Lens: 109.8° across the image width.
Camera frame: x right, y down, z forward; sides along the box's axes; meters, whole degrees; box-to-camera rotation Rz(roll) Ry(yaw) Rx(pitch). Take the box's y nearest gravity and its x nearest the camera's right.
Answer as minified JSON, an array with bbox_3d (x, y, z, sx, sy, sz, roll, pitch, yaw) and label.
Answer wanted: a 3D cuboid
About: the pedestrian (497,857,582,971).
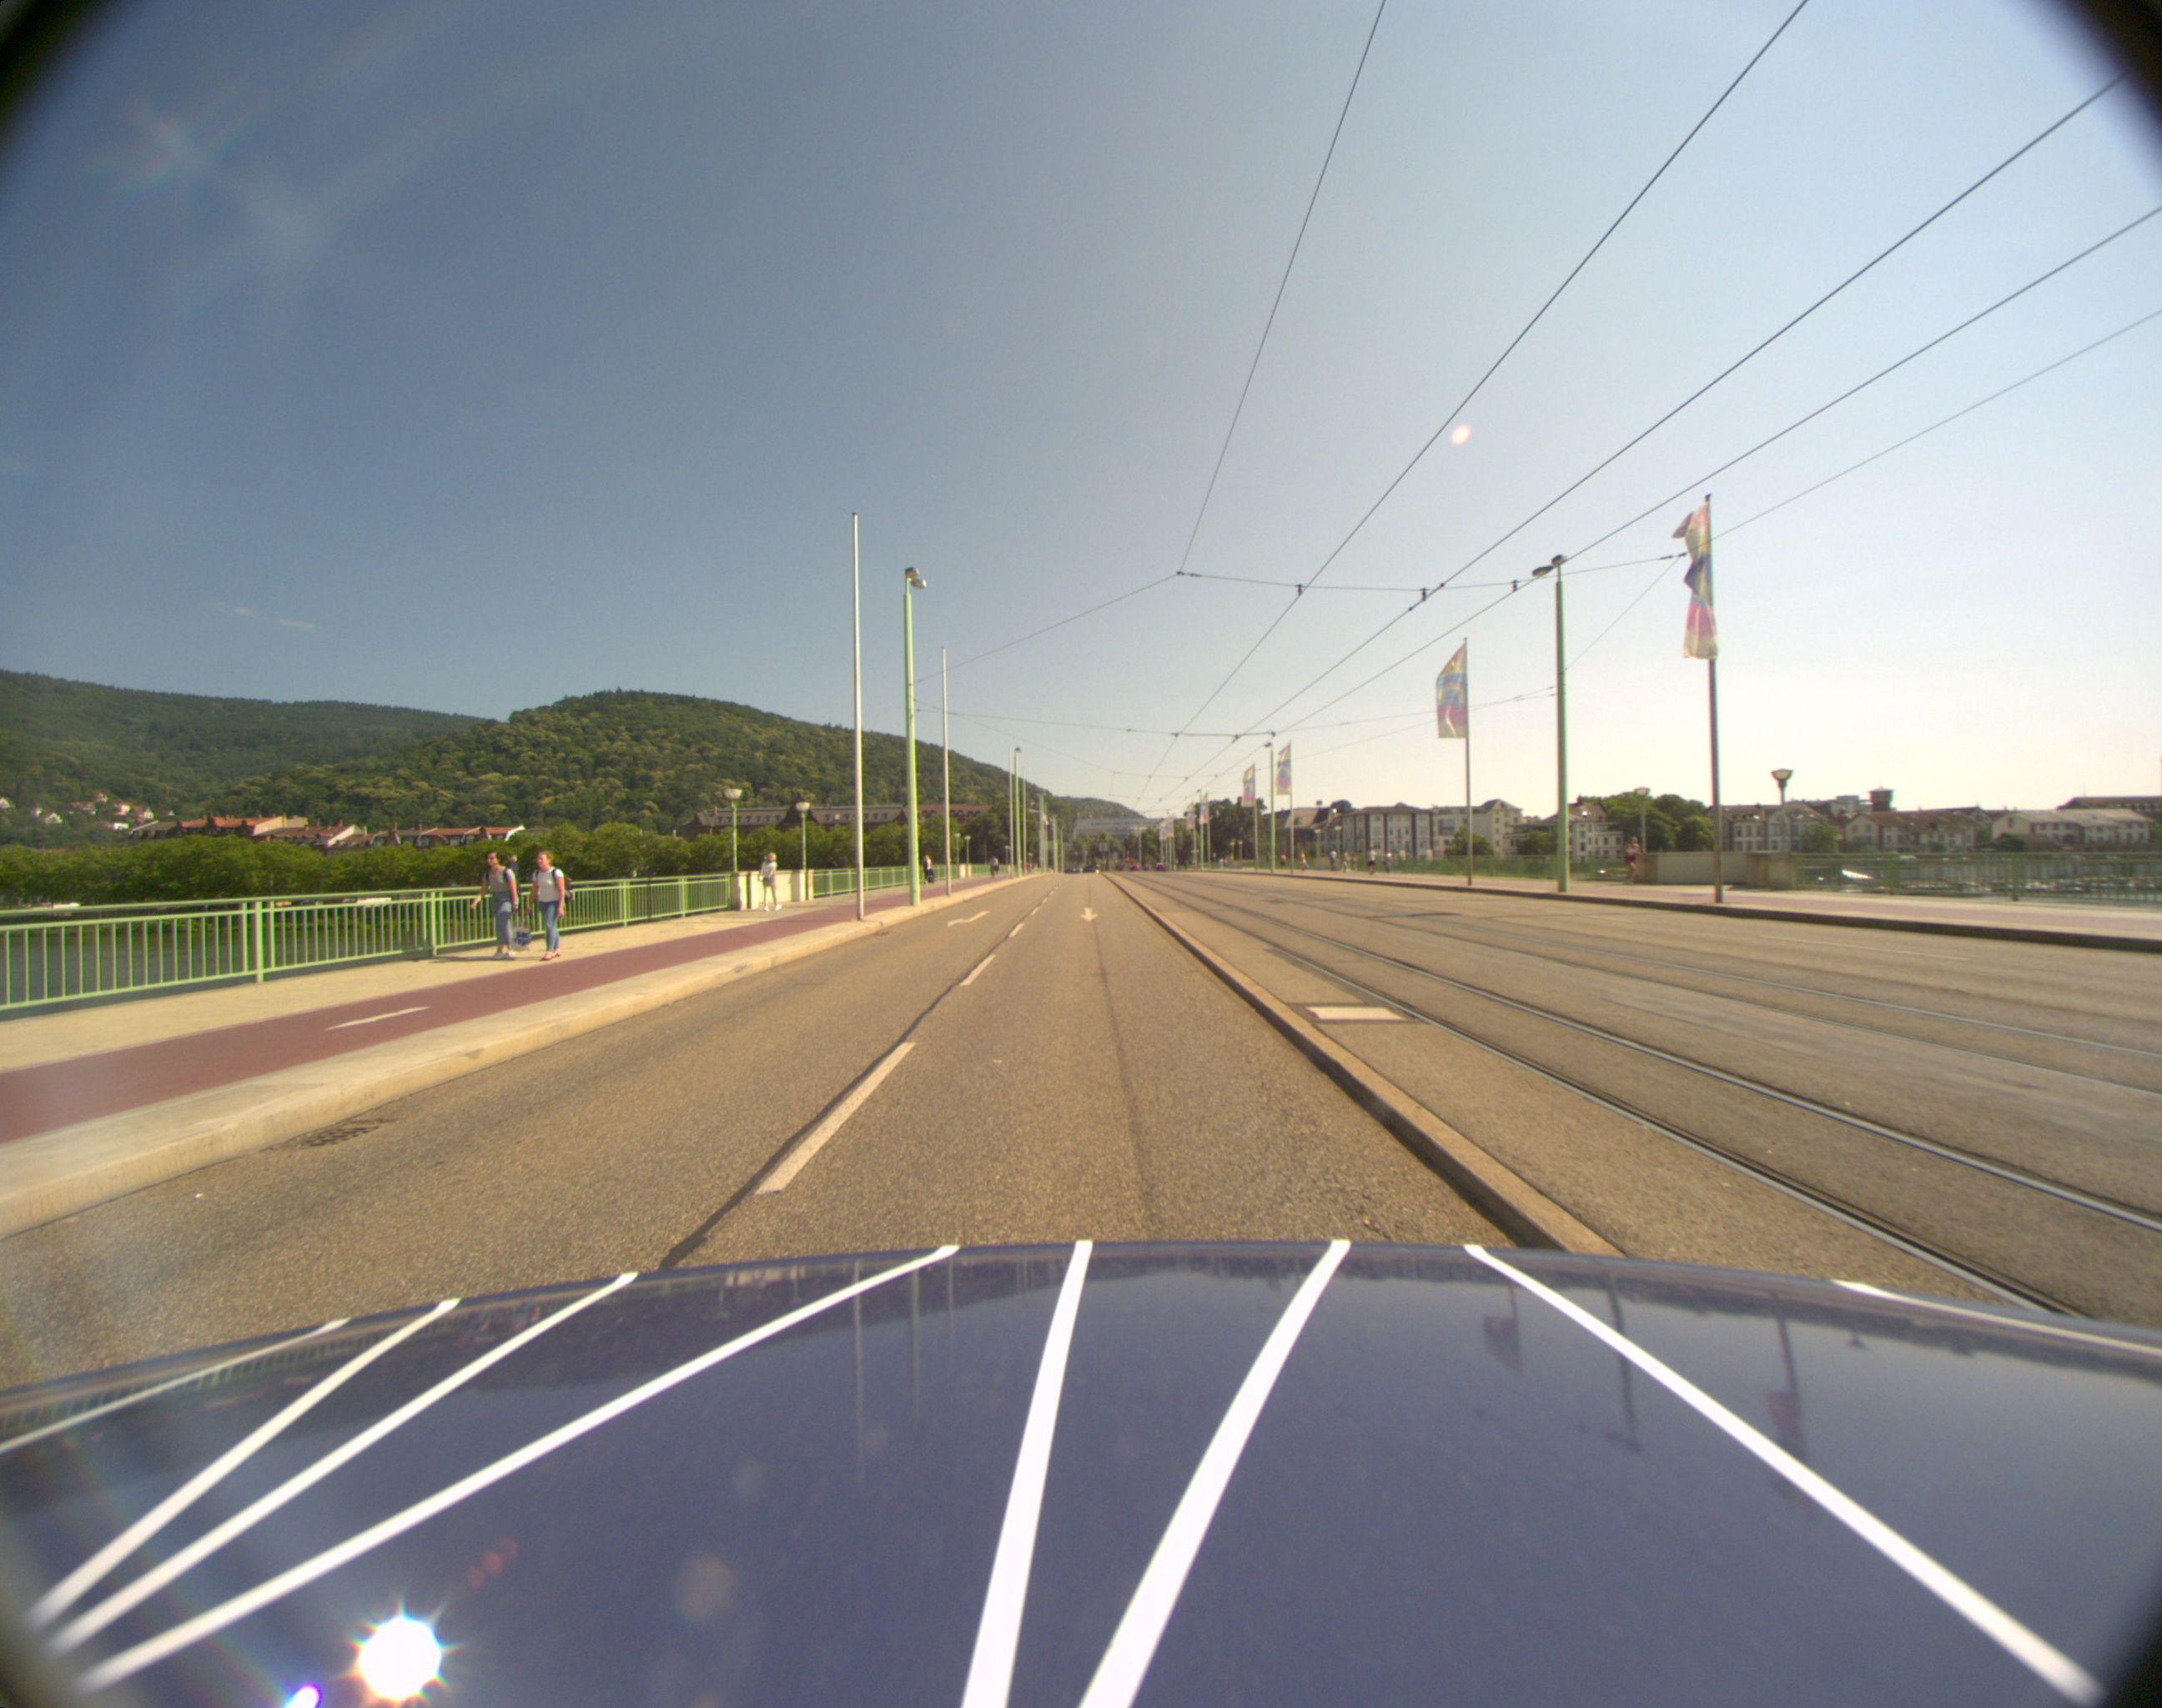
[{"bbox_3d":[-8.152,0.871,11.466,0.664,1.649,0.825,0,1,0],"label":"pedestrian"}]

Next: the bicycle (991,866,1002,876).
[{"bbox_3d":[-6.773,1.371,60.992,0.595,0.761,1.866,0,0,1],"label":"bicycle"}]

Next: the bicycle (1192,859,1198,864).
[{"bbox_3d":[17.930,1.222,119.175,0.667,0.712,2.173,-1,0,1],"label":"bicycle"}]

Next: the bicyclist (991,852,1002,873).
[{"bbox_3d":[-6.773,0.672,60.859,0.731,1.655,0.844,1,0,1],"label":"bicyclist"}]

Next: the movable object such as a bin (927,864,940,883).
[{"bbox_3d":[-8.808,1.156,45.328,0.583,1.084,0.933,0,0,0],"label":"movable object such as a bin"}]

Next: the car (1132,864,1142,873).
[{"bbox_3d":[11.610,3.066,157.831,1.714,1.686,4.000,-5,0,1],"label":"car"}]

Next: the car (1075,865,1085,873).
[{"bbox_3d":[-0.183,3.072,160.006,1.998,1.379,4.000,-6,0,1],"label":"car"}]

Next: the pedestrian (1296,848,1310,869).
[{"bbox_3d":[18.536,0.386,63.418,0.787,1.690,1.022,-4,1,0],"label":"pedestrian"}]

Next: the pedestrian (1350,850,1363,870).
[{"bbox_3d":[19.424,0.416,53.649,0.547,1.429,0.789,-3,1,0],"label":"pedestrian"}]

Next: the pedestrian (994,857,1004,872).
[{"bbox_3d":[-8.964,1.166,82.773,0.950,1.653,1.082,1,0,0],"label":"pedestrian"}]

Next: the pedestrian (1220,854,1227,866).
[{"bbox_3d":[20.054,0.810,106.825,0.592,1.690,1.022,-6,0,0],"label":"pedestrian"}]

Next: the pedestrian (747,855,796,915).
[{"bbox_3d":[-8.832,0.863,21.718,0.950,1.653,1.082,0,1,0],"label":"pedestrian"}]

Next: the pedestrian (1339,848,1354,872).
[{"bbox_3d":[18.746,0.424,53.754,0.627,1.590,1.022,-3,0,0],"label":"pedestrian"}]

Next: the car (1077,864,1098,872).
[{"bbox_3d":[1.647,3.602,194.576,5.233,1.588,2.000,-3,1,1],"label":"car"}]

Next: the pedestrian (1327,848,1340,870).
[{"bbox_3d":[19.737,0.408,59.412,0.592,1.690,1.022,-3,1,0],"label":"pedestrian"}]

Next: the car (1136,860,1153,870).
[{"bbox_3d":[16.340,2.841,196.246,3.997,2.002,2.000,-6,0,-2],"label":"car"}]

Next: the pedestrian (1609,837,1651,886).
[{"bbox_3d":[19.444,0.272,26.937,0.686,1.680,1.022,-3,1,0],"label":"pedestrian"}]

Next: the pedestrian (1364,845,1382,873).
[{"bbox_3d":[18.301,0.310,47.592,0.671,1.690,1.022,-3,1,0],"label":"pedestrian"}]

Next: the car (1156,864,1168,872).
[{"bbox_3d":[14.458,2.475,135.220,1.721,1.446,3.901,0,0,0],"label":"car"}]

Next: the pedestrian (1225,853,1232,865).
[{"bbox_3d":[20.857,0.685,107.388,0.592,1.690,0.905,-6,0,0],"label":"pedestrian"}]

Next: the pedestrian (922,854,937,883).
[{"bbox_3d":[-8.875,0.840,44.484,0.664,1.696,0.859,0,1,0],"label":"pedestrian"}]

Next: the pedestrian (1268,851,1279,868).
[{"bbox_3d":[19.131,0.531,75.598,0.787,1.690,1.022,-4,1,0],"label":"pedestrian"}]

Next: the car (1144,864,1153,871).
[{"bbox_3d":[14.646,3.018,165.529,1.672,1.428,4.000,-1,1,1],"label":"car"}]

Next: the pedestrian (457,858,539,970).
[{"bbox_3d":[-8.859,0.890,11.570,0.669,1.649,0.746,0,1,0],"label":"pedestrian"}]

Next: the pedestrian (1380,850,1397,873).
[{"bbox_3d":[19.222,0.456,47.574,0.592,1.406,1.022,-3,0,0],"label":"pedestrian"}]
